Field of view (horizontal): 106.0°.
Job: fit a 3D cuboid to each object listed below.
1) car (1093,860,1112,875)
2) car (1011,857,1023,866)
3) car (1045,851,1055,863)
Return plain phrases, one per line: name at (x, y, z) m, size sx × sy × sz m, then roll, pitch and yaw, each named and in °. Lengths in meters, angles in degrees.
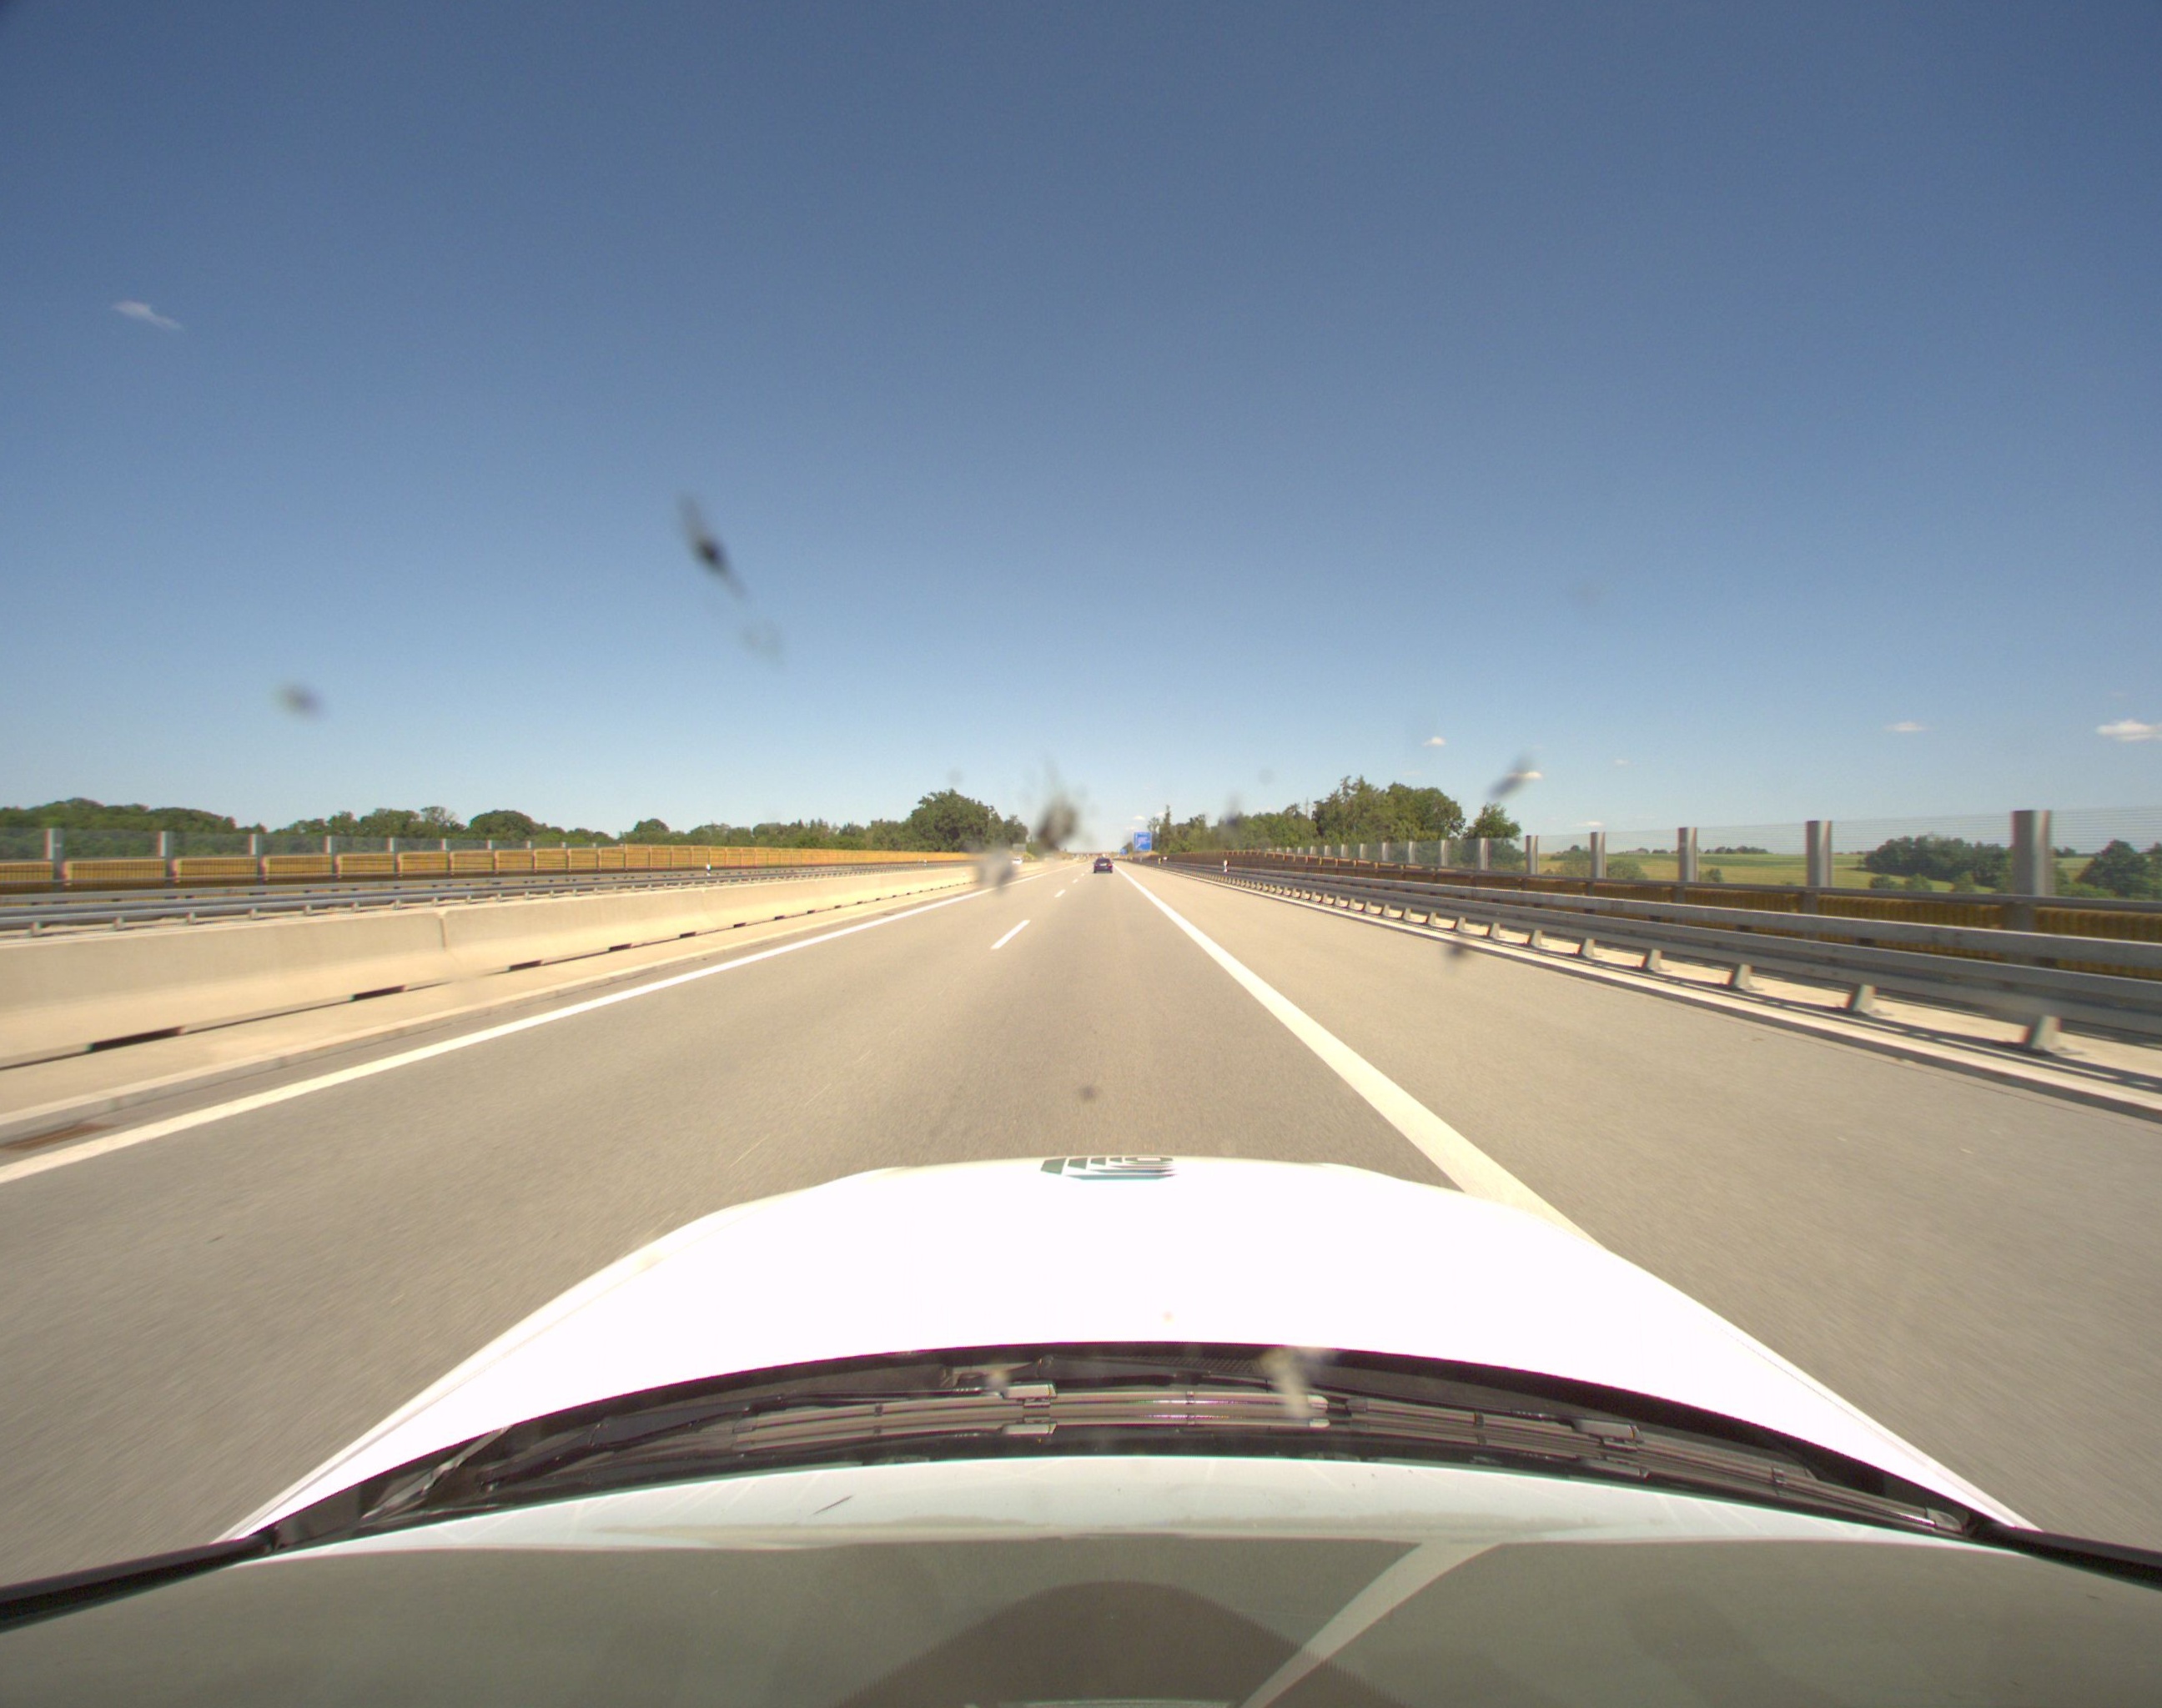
car at (2.026, 1.238, 76.541) m, size 1.783 × 1.374 × 3.918 m, roll -1°, pitch 0°, yaw 2°
car at (-11.097, 1.314, 141.682) m, size 1.641 × 1.508 × 4.334 m, roll -1°, pitch 0°, yaw 2°
car at (-7.219, 0.734, 192.639) m, size 2.016 × 2.670 × 6.487 m, roll 0°, pitch 0°, yaw 1°
